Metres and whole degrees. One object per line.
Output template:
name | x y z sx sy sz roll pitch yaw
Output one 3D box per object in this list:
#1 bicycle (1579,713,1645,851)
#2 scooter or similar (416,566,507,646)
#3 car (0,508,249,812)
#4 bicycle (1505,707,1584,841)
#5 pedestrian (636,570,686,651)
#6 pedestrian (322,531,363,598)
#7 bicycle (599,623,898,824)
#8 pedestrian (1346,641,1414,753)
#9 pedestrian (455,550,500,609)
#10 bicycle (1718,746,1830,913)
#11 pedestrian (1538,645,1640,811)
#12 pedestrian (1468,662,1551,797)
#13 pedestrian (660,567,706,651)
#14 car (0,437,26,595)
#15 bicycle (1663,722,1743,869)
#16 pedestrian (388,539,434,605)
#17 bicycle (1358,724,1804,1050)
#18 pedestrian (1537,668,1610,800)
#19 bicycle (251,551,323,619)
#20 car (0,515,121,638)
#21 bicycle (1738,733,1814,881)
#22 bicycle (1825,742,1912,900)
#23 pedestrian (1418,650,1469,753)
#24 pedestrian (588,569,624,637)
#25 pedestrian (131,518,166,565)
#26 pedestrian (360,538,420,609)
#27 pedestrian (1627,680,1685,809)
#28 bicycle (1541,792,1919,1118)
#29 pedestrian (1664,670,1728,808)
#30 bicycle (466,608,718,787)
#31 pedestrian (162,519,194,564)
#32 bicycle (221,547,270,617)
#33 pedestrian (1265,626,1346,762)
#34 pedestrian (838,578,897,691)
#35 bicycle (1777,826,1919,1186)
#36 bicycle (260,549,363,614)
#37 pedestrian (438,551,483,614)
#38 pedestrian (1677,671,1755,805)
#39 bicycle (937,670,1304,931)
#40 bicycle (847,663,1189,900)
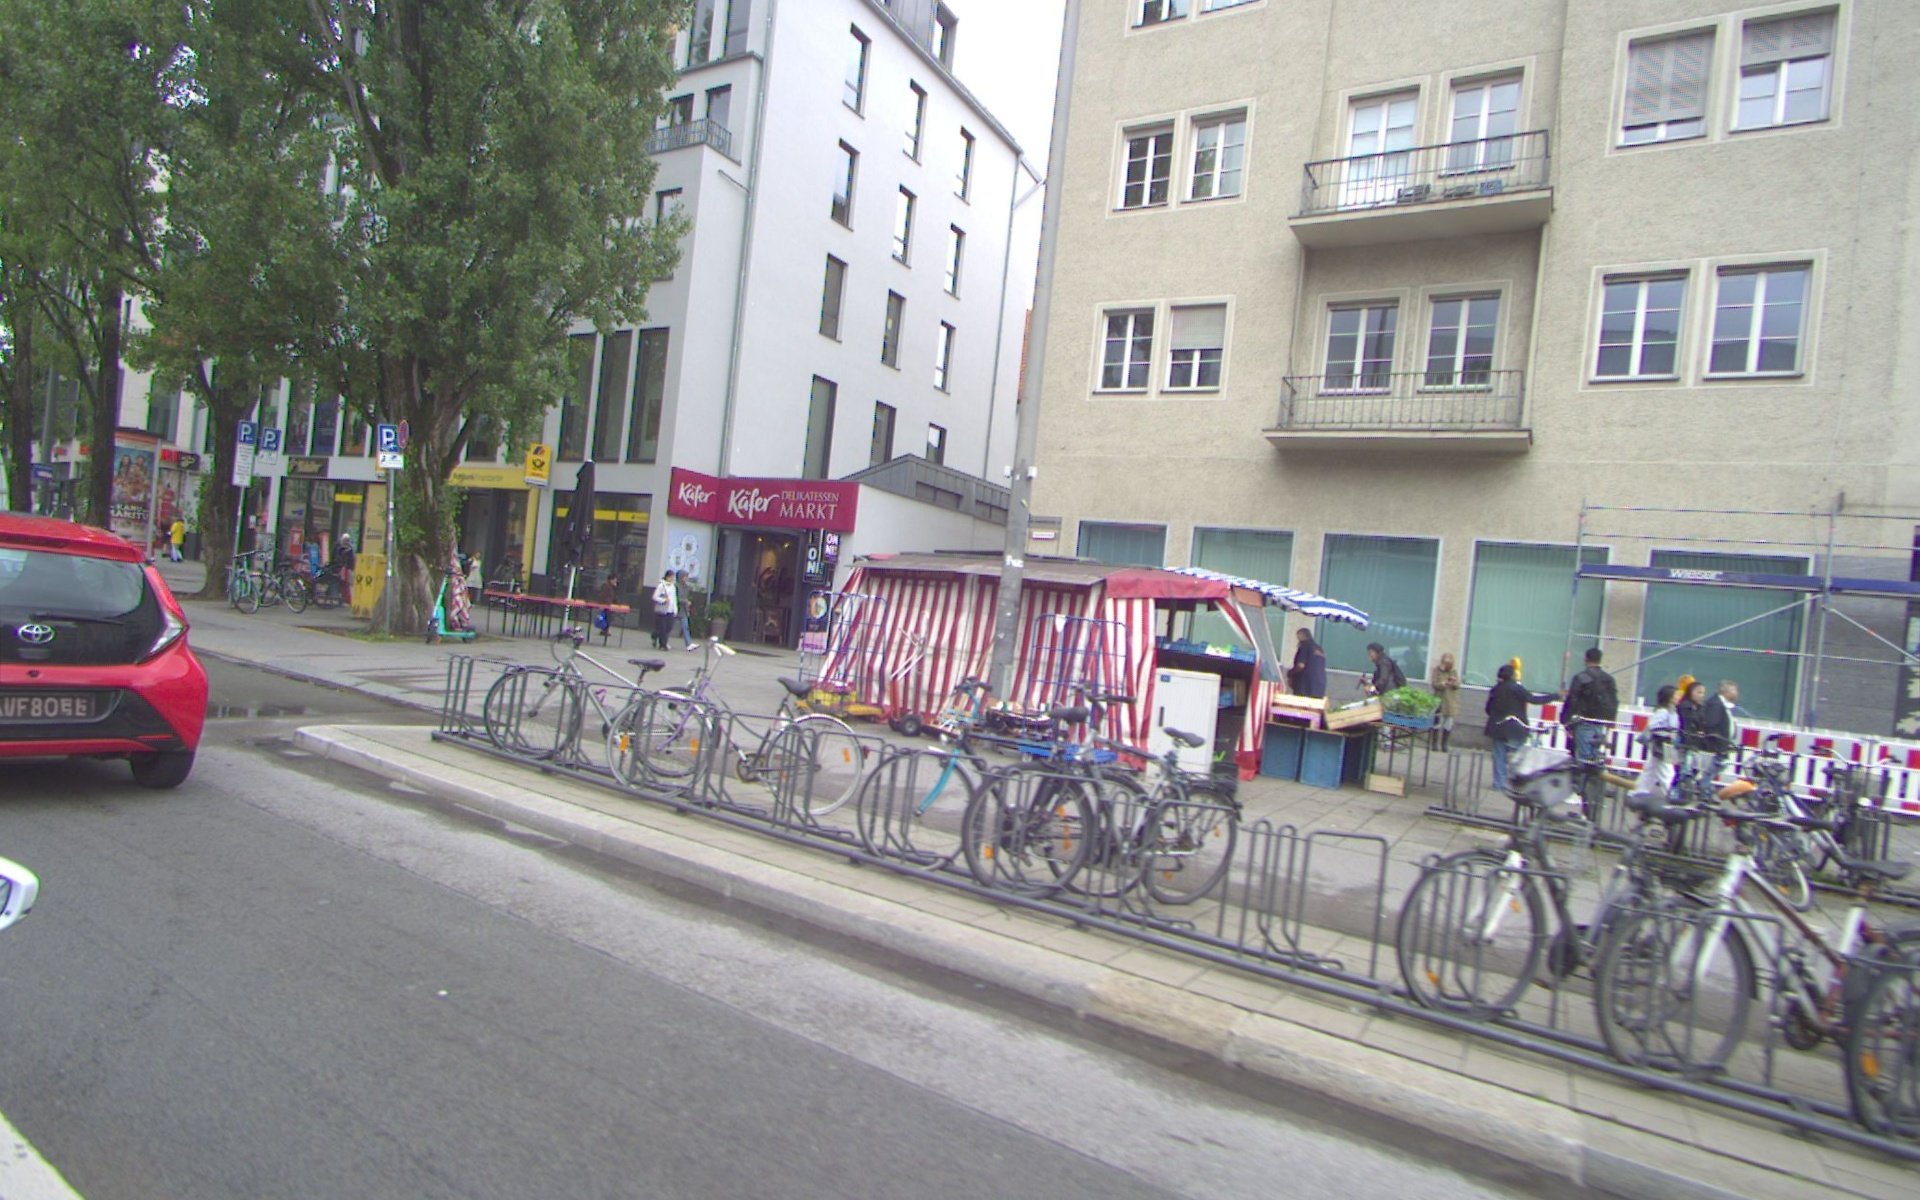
bicycle | 6.306 1.704 9.725 0.403 1.117 1.629 6 1 33
scooter or similar | -8.176 0.113 16.557 0.393 1.222 1.470 6 0 14
car | -6.015 0.180 5.942 3.538 1.463 1.667 5 -2 33
bicycle | 5.758 1.658 9.877 0.404 1.117 1.628 6 1 36
pedestrian | -6.198 0.225 20.850 0.626 1.603 0.641 6 1 40
pedestrian | -17.138 -0.979 27.932 0.711 1.746 0.736 5 1 -21
bicycle | -1.418 0.840 6.782 1.778 1.066 0.544 10 -2 -20
pedestrian | 6.729 1.534 16.105 0.753 1.671 0.601 6 1 34
pedestrian | -13.635 -0.570 28.438 0.697 1.554 0.765 6 1 29
bicycle | 6.348 1.731 7.818 1.464 1.091 0.405 5 1 -43
pedestrian | 7.557 1.505 12.127 0.716 1.852 0.718 6 1 17
pedestrian | 6.858 1.594 12.554 0.718 1.547 0.677 6 1 33
pedestrian | -5.910 0.193 21.441 0.588 1.723 0.578 7 1 40
car | -19.745 -1.765 18.760 5.466 2.773 1.996 5 -2 34
bicycle | 6.819 1.745 9.274 0.403 1.117 1.629 6 1 33
pedestrian | -14.929 -0.765 27.359 0.785 1.670 0.691 6 1 32
bicycle | 2.672 1.233 4.306 1.778 1.117 0.544 10 -2 -20
pedestrian | 7.869 1.692 12.924 0.543 1.585 0.653 6 1 21
bicycle | -13.291 -0.297 19.852 1.606 1.174 0.478 6 0 32
car | -13.778 -0.472 14.350 4.083 1.470 1.727 6 -3 36
bicycle | 7.386 1.815 9.100 0.404 1.117 1.626 6 1 40
bicycle | 7.794 1.844 8.669 0.404 1.117 1.626 6 1 40
pedestrian | 8.047 1.675 16.736 0.598 1.623 0.465 6 1 29
pedestrian | -8.208 0.070 23.328 0.640 1.494 0.757 7 -1 -20
pedestrian | -28.915 -2.072 35.833 0.738 1.578 0.682 6 1 34
pedestrian | -14.576 -0.676 25.716 1.006 1.657 0.801 6 1 29
pedestrian | 8.909 1.831 12.889 0.458 1.558 0.559 6 -1 32
bicycle | 3.102 1.372 3.848 1.778 1.021 0.384 10 -2 -20
pedestrian | 9.546 1.789 13.065 0.464 1.692 0.526 6 -1 28
bicycle | -2.701 0.726 7.485 1.555 1.066 0.544 10 -2 -20
pedestrian | -29.928 -2.230 38.488 0.664 1.596 0.565 6 1 9
bicycle | -13.473 -0.352 18.945 0.475 1.174 1.804 6 0 -41
pedestrian | 4.649 1.243 13.532 0.717 1.694 0.794 6 1 31
pedestrian | -1.546 0.563 16.734 0.601 1.793 0.716 5 1 -25
bicycle | 3.745 1.436 3.568 1.778 1.021 0.384 10 -2 -20
bicycle | -13.668 -0.380 21.227 0.696 1.174 1.624 6 -1 45
pedestrian | -13.706 -0.477 27.596 0.760 1.605 0.691 6 1 32
pedestrian | 10.093 1.828 13.440 0.533 1.694 0.503 7 -1 -20
bicycle | 0.872 1.079 5.398 1.778 1.117 0.544 10 -2 -20
bicycle | 0.338 1.033 5.699 1.775 1.066 0.366 10 -2 -15
